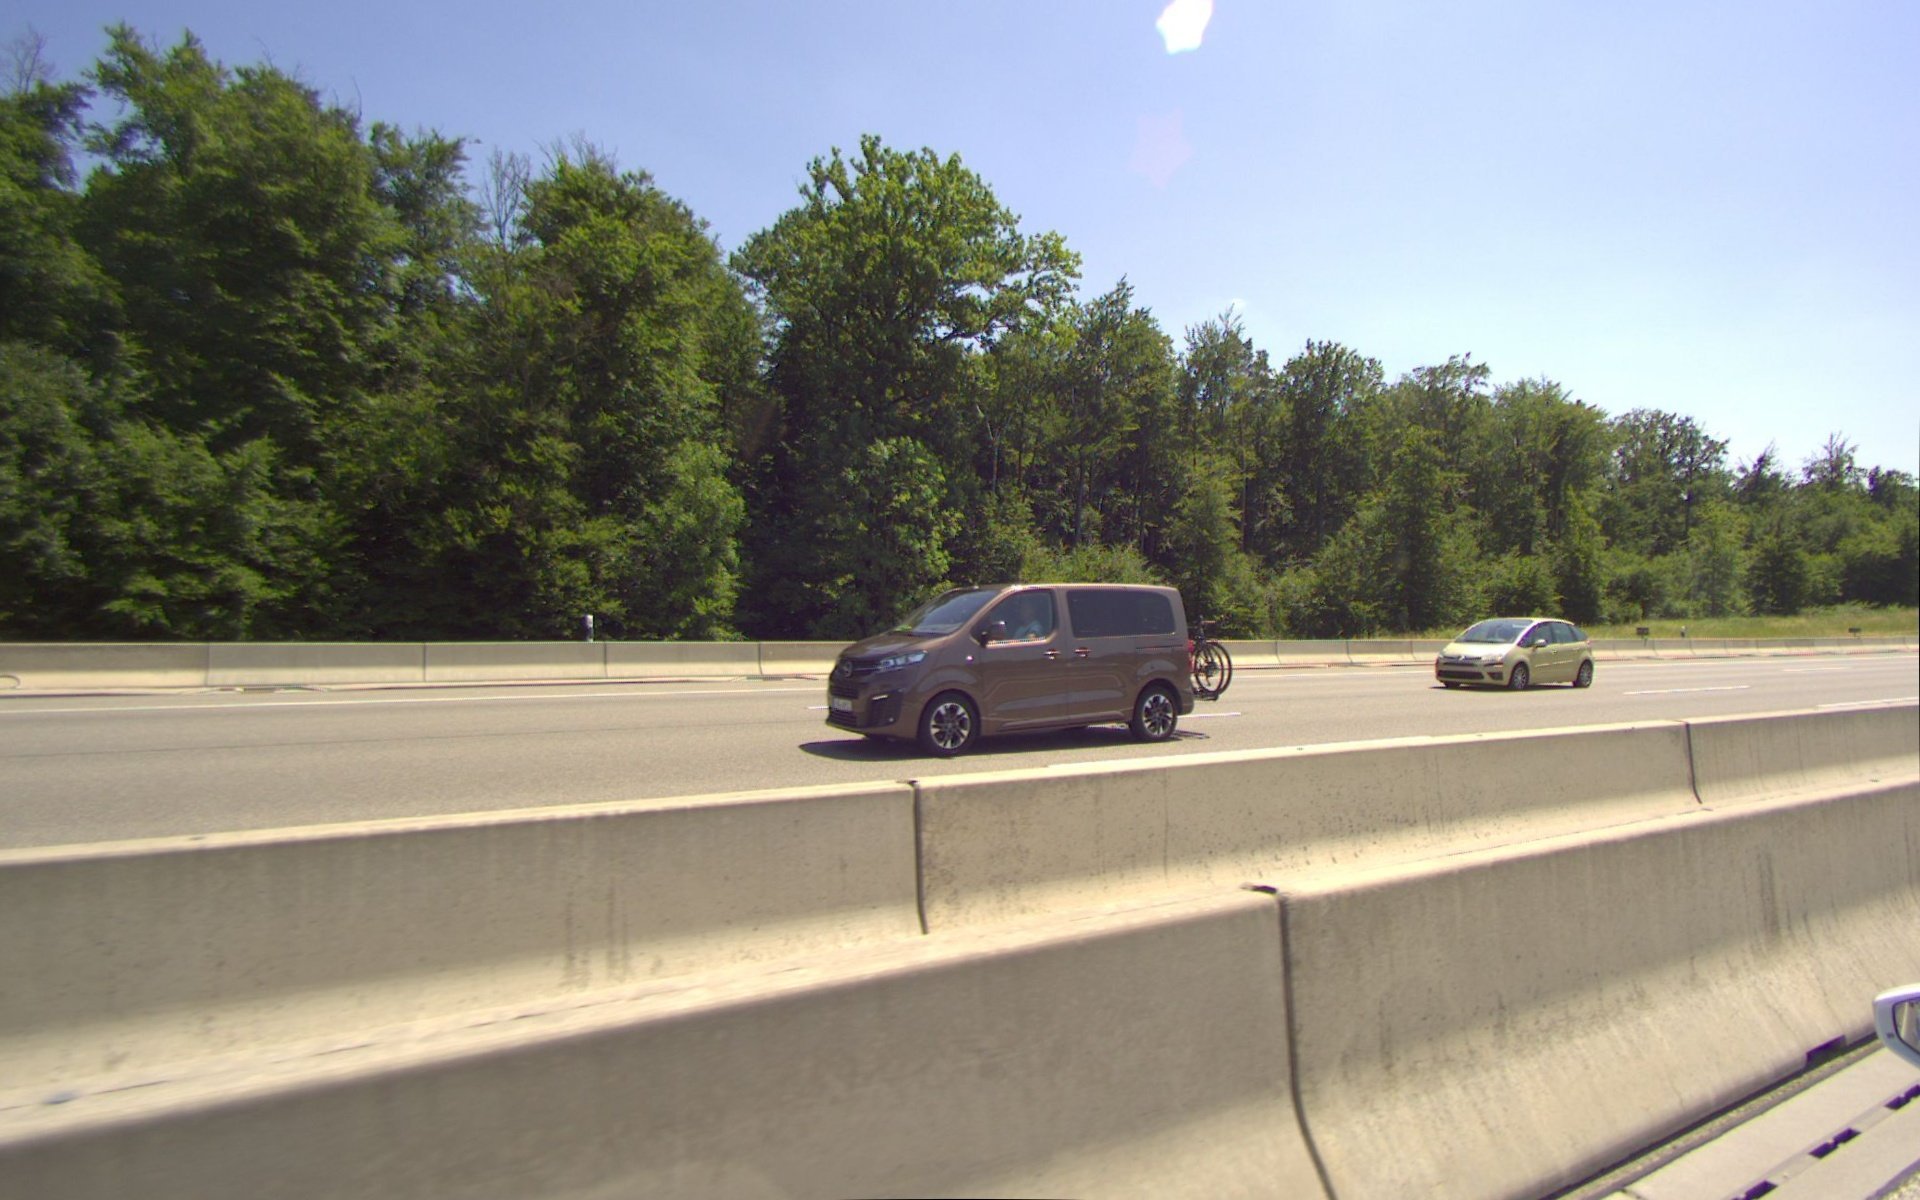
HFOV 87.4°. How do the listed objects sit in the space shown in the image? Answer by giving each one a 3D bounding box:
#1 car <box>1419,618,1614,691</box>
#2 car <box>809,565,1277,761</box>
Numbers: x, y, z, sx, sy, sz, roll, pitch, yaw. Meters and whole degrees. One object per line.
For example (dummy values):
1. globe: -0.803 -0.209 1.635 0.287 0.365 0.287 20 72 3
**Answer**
1. car: 13.132 1.248 23.633 4.757 1.555 1.864 1 -1 -30
2. car: 1.173 0.702 12.343 5.707 1.965 1.864 1 -1 -30
